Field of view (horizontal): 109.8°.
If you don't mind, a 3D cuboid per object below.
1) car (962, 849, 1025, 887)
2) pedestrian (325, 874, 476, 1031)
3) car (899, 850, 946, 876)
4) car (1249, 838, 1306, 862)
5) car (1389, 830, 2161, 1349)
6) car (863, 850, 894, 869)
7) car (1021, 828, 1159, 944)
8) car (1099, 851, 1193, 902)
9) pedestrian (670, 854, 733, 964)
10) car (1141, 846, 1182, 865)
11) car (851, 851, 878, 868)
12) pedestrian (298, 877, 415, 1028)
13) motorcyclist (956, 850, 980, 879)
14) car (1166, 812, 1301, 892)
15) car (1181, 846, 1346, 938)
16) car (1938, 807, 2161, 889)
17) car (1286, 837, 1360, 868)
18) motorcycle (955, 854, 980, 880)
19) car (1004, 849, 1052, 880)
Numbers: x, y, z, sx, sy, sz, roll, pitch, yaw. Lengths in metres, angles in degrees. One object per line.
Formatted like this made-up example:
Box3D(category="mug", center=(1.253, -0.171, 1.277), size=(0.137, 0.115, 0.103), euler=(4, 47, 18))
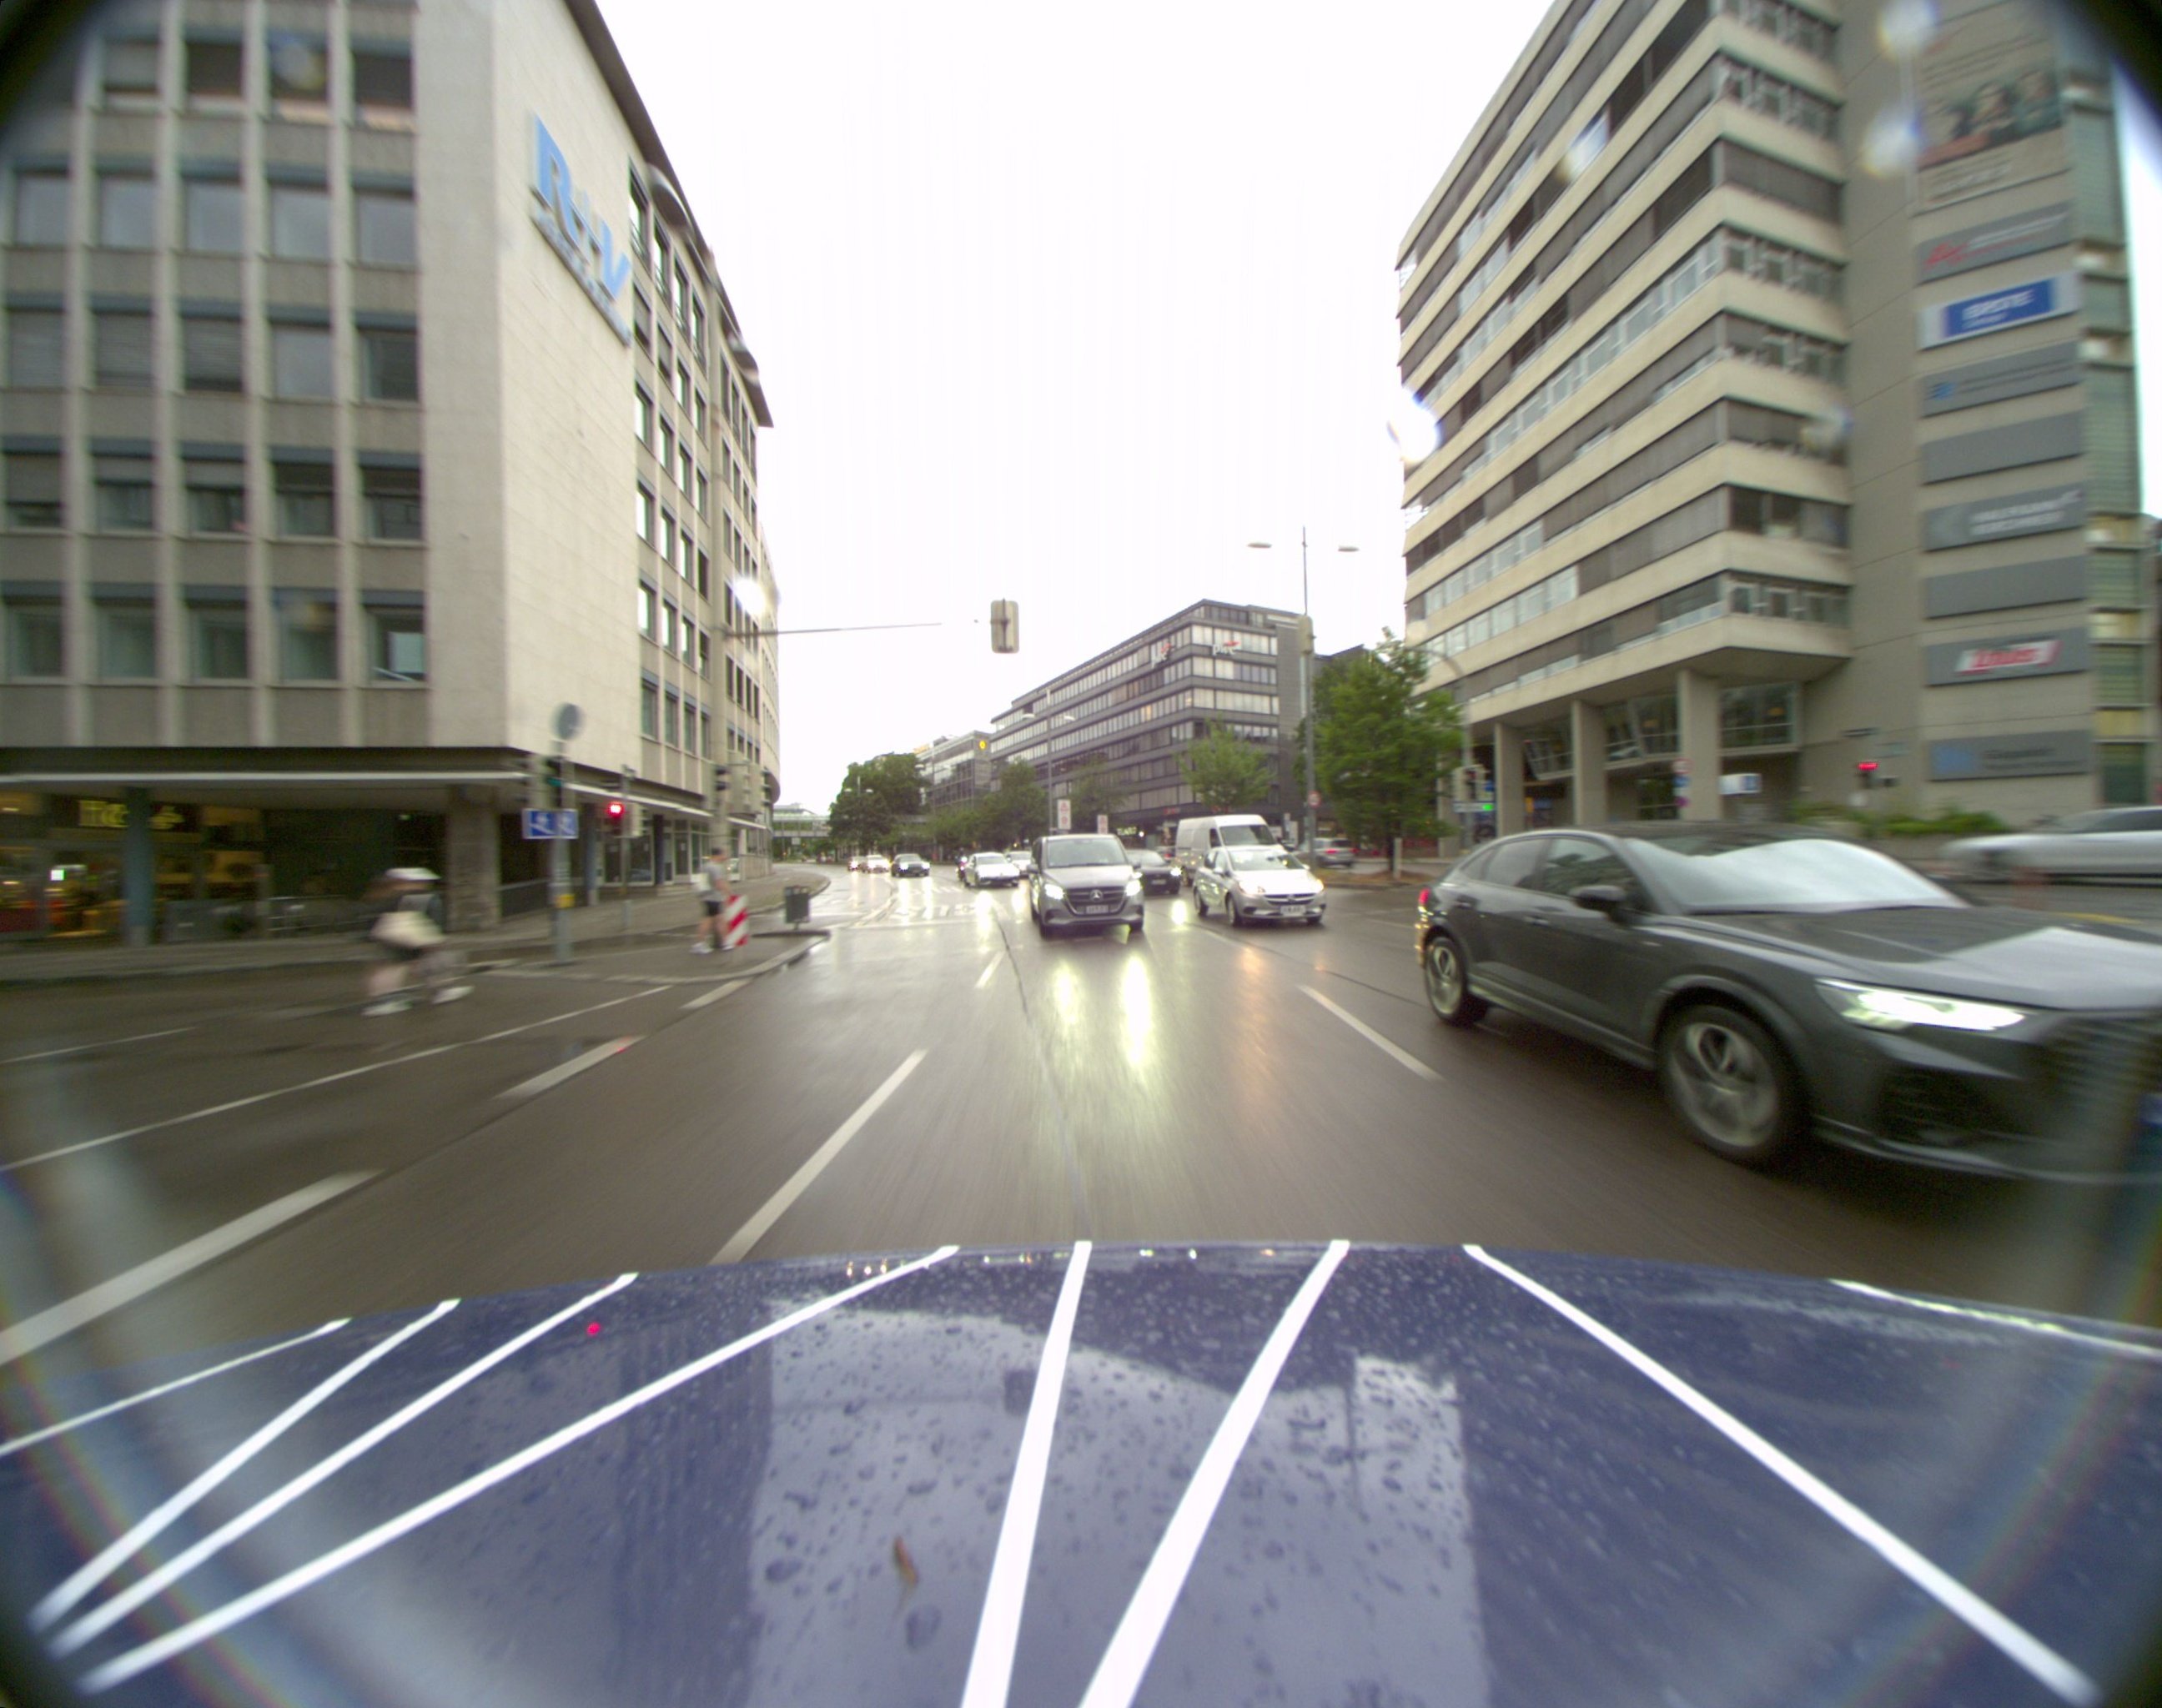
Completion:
Box3D(category="car", center=(-3.906, 0.586, 33.258), size=(1.692, 1.477, 3.993), euler=(-3, 1, -22))
Box3D(category="pedestrian", center=(-7.599, 1.057, 8.547), size=(0.654, 1.589, 1.058), euler=(-3, 1, -2))
Box3D(category="car", center=(-9.950, 0.553, 47.405), size=(1.895, 1.477, 3.992), euler=(-3, 1, -26))
Box3D(category="car", center=(13.115, -0.255, 51.010), size=(1.755, 1.508, 4.056), euler=(-3, 1, -17))
Box3D(category="car", center=(3.687, 0.694, 4.548), size=(1.802, 1.543, 4.387), euler=(-3, 1, -1))
Box3D(category="car", center=(-17.294, 0.458, 64.874), size=(1.895, 1.477, 3.992), euler=(-3, 1, -24))
Box3D(category="car", center=(-0.031, 0.519, 15.503), size=(2.061, 1.881, 5.045), euler=(-3, 1, -7))
Box3D(category="car", center=(1.970, 0.657, 24.528), size=(1.906, 1.393, 4.237), euler=(-3, 1, -11))
Box3D(category="pedestrian", center=(-6.244, 0.874, 12.550), size=(0.654, 1.716, 0.816), euler=(-3, 1, -12))
Box3D(category="car", center=(6.923, 0.123, 65.600), size=(1.756, 1.508, 4.055), euler=(-3, 1, -21))
Box3D(category="car", center=(-20.881, 0.516, 73.299), size=(1.895, 1.477, 3.992), euler=(-3, 1, -24))
Box3D(category="pedestrian", center=(-8.207, 1.085, 8.637), size=(0.527, 1.589, 0.731), euler=(-3, 1, -2))
Box3D(category="motorcyclist", center=(-6.079, 0.538, 40.730), size=(1.153, 1.502, 1.196), euler=(-3, 1, -12))
Box3D(category="car", center=(5.039, -0.085, 26.165), size=(2.262, 2.371, 5.712), euler=(-3, 1, -14))
Box3D(category="car", center=(3.389, 0.623, 15.008), size=(1.775, 1.470, 4.124), euler=(-3, 1, -7))
Box3D(category="car", center=(20.842, -0.149, 14.878), size=(1.789, 1.508, 5.248), euler=(-3, 1, -8))
Box3D(category="car", center=(12.633, -0.065, 39.890), size=(1.744, 1.455, 3.994), euler=(-3, 1, -15))
Box3D(category="motorcycle", center=(-6.093, 0.686, 40.731), size=(1.131, 1.259, 3.370), euler=(-3, 1, -11))
Box3D(category="car", center=(-2.914, 0.544, 41.368), size=(1.755, 1.508, 3.763), euler=(-3, 1, -16))
